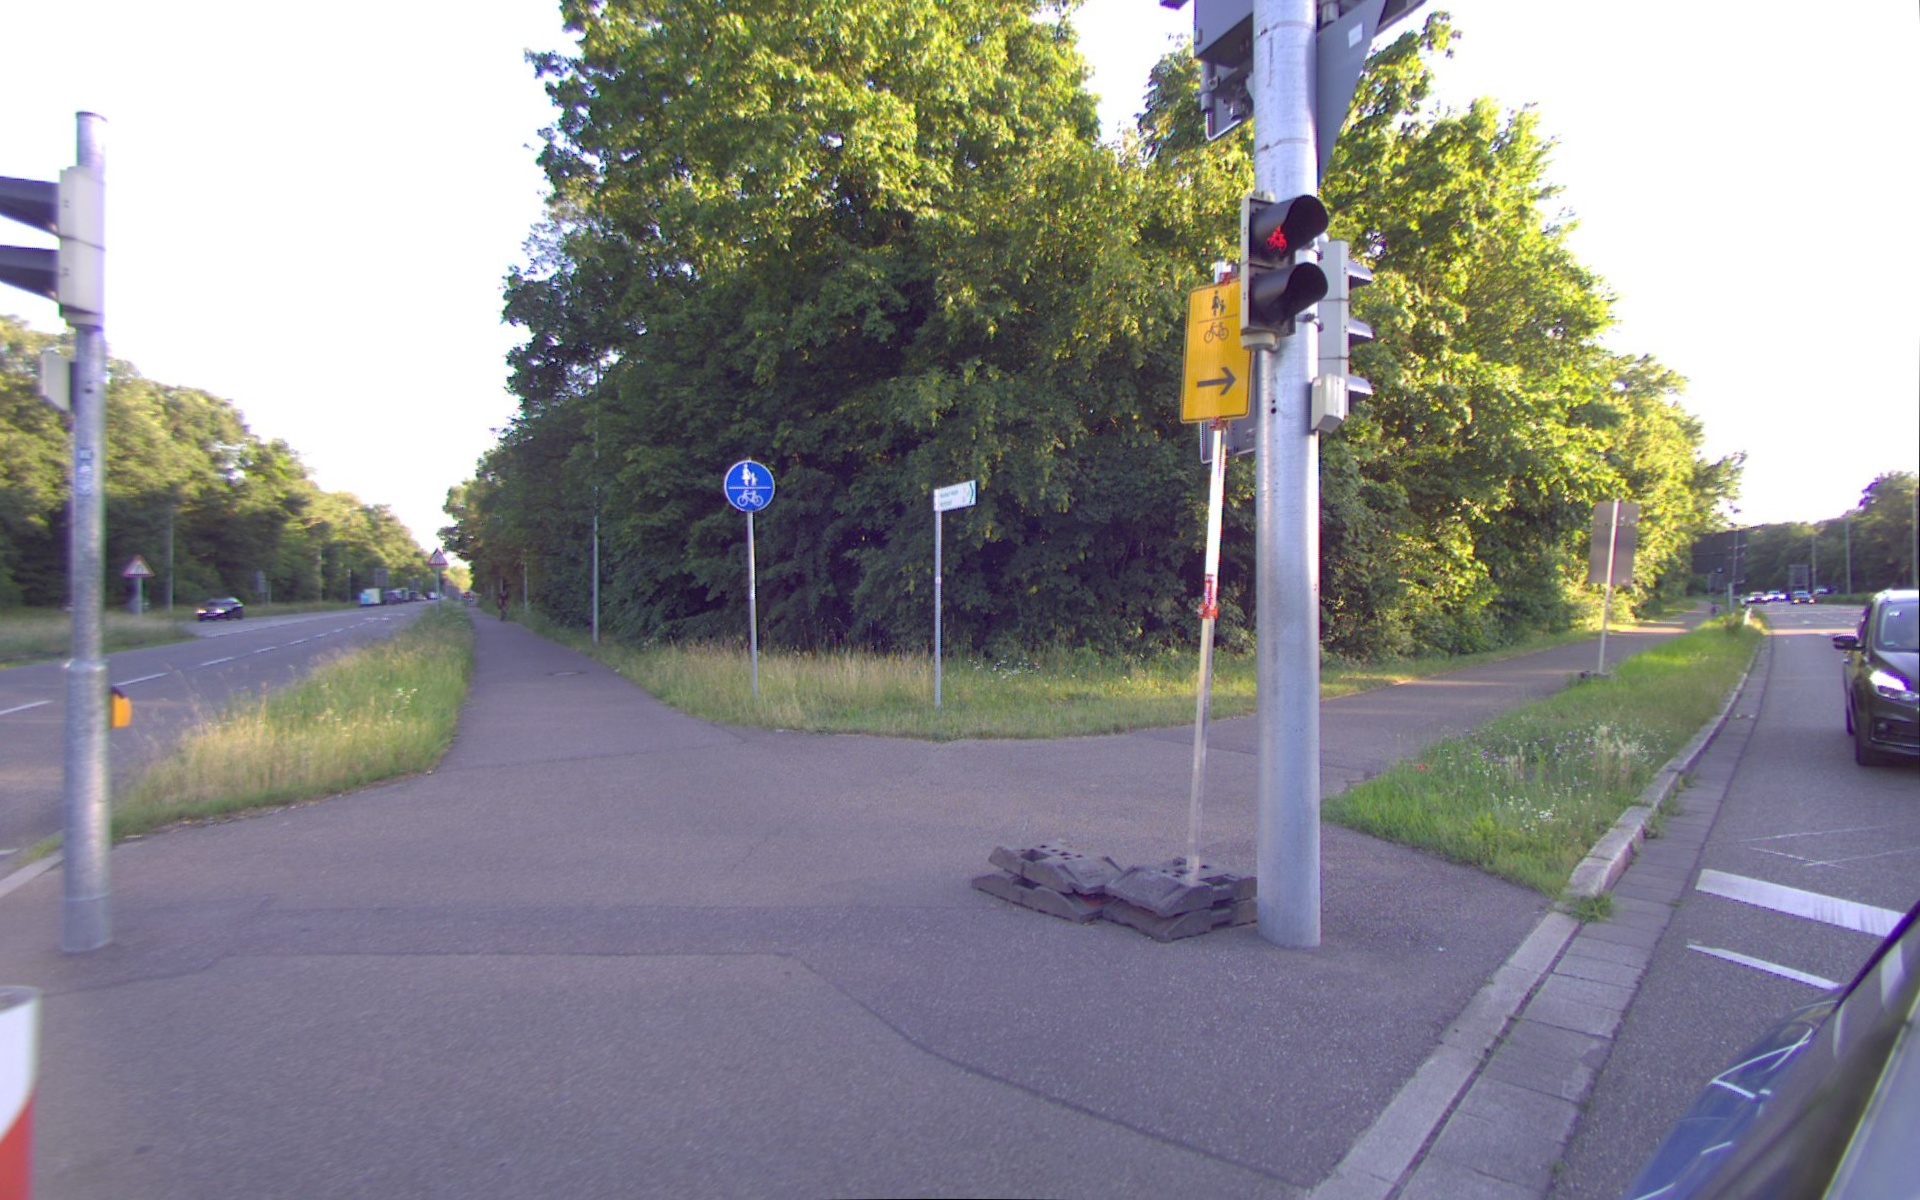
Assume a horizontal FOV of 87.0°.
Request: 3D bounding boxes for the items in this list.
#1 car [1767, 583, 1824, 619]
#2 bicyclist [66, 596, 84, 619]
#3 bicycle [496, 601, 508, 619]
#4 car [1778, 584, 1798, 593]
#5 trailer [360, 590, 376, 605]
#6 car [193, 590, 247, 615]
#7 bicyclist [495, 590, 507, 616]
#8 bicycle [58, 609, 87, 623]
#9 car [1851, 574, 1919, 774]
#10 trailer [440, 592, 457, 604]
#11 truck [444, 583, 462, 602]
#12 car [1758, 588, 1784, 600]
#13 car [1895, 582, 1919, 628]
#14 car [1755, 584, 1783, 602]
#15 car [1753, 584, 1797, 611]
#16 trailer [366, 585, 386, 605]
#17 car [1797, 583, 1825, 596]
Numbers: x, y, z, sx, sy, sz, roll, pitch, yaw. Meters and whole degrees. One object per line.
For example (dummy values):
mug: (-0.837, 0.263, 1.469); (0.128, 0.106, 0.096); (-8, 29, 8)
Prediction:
car: (40.745, 0.049, 49.312); (1.991, 1.645, 4.332); (-2, -1, 41)
bicyclist: (-56.936, 0.474, 65.104); (0.575, 1.447, 0.824); (-1, 0, -16)
bicycle: (-25.824, 0.563, 57.032); (0.600, 1.008, 1.694); (-1, 0, -25)
car: (116.836, -1.661, 142.853); (1.732, 1.304, 3.702); (0, 1, 32)
trailer: (-87.313, -0.367, 149.292); (1.786, 2.194, 4.149); (-1, 1, -26)
car: (-49.705, 0.159, 68.052); (1.787, 1.553, 4.464); (-3, 1, -22)
bicyclist: (-25.893, 0.161, 57.115); (0.592, 1.473, 0.781); (-1, 0, -25)
bicycle: (-56.903, 1.027, 64.905); (0.575, 0.814, 1.963); (-1, 1, -16)
car: (10.129, 0.595, 9.857); (2.005, 1.683, 4.746); (-3, -2, 43)
trailer: (-77.779, -0.283, 153.837); (1.430, 1.683, 3.784); (-1, 1, -12)
truck: (-91.576, -1.278, 182.964); (2.543, 3.296, 7.233); (1, 0, -24)
car: (100.059, -0.750, 124.903); (1.856, 1.423, 4.032); (-2, -1, 30)
car: (36.168, 0.141, 37.530); (1.991, 1.645, 4.332); (-2, -1, 41)
car: (81.110, -0.710, 101.461); (1.991, 1.645, 4.332); (-2, -1, 41)
car: (51.662, -0.163, 64.140); (1.991, 1.645, 4.332); (-2, -1, 41)
trailer: (-94.211, -0.794, 163.328); (2.286, 2.960, 5.635); (-3, 2, -26)
car: (96.629, -1.164, 114.934); (1.858, 1.423, 4.028); (-2, -1, 33)
